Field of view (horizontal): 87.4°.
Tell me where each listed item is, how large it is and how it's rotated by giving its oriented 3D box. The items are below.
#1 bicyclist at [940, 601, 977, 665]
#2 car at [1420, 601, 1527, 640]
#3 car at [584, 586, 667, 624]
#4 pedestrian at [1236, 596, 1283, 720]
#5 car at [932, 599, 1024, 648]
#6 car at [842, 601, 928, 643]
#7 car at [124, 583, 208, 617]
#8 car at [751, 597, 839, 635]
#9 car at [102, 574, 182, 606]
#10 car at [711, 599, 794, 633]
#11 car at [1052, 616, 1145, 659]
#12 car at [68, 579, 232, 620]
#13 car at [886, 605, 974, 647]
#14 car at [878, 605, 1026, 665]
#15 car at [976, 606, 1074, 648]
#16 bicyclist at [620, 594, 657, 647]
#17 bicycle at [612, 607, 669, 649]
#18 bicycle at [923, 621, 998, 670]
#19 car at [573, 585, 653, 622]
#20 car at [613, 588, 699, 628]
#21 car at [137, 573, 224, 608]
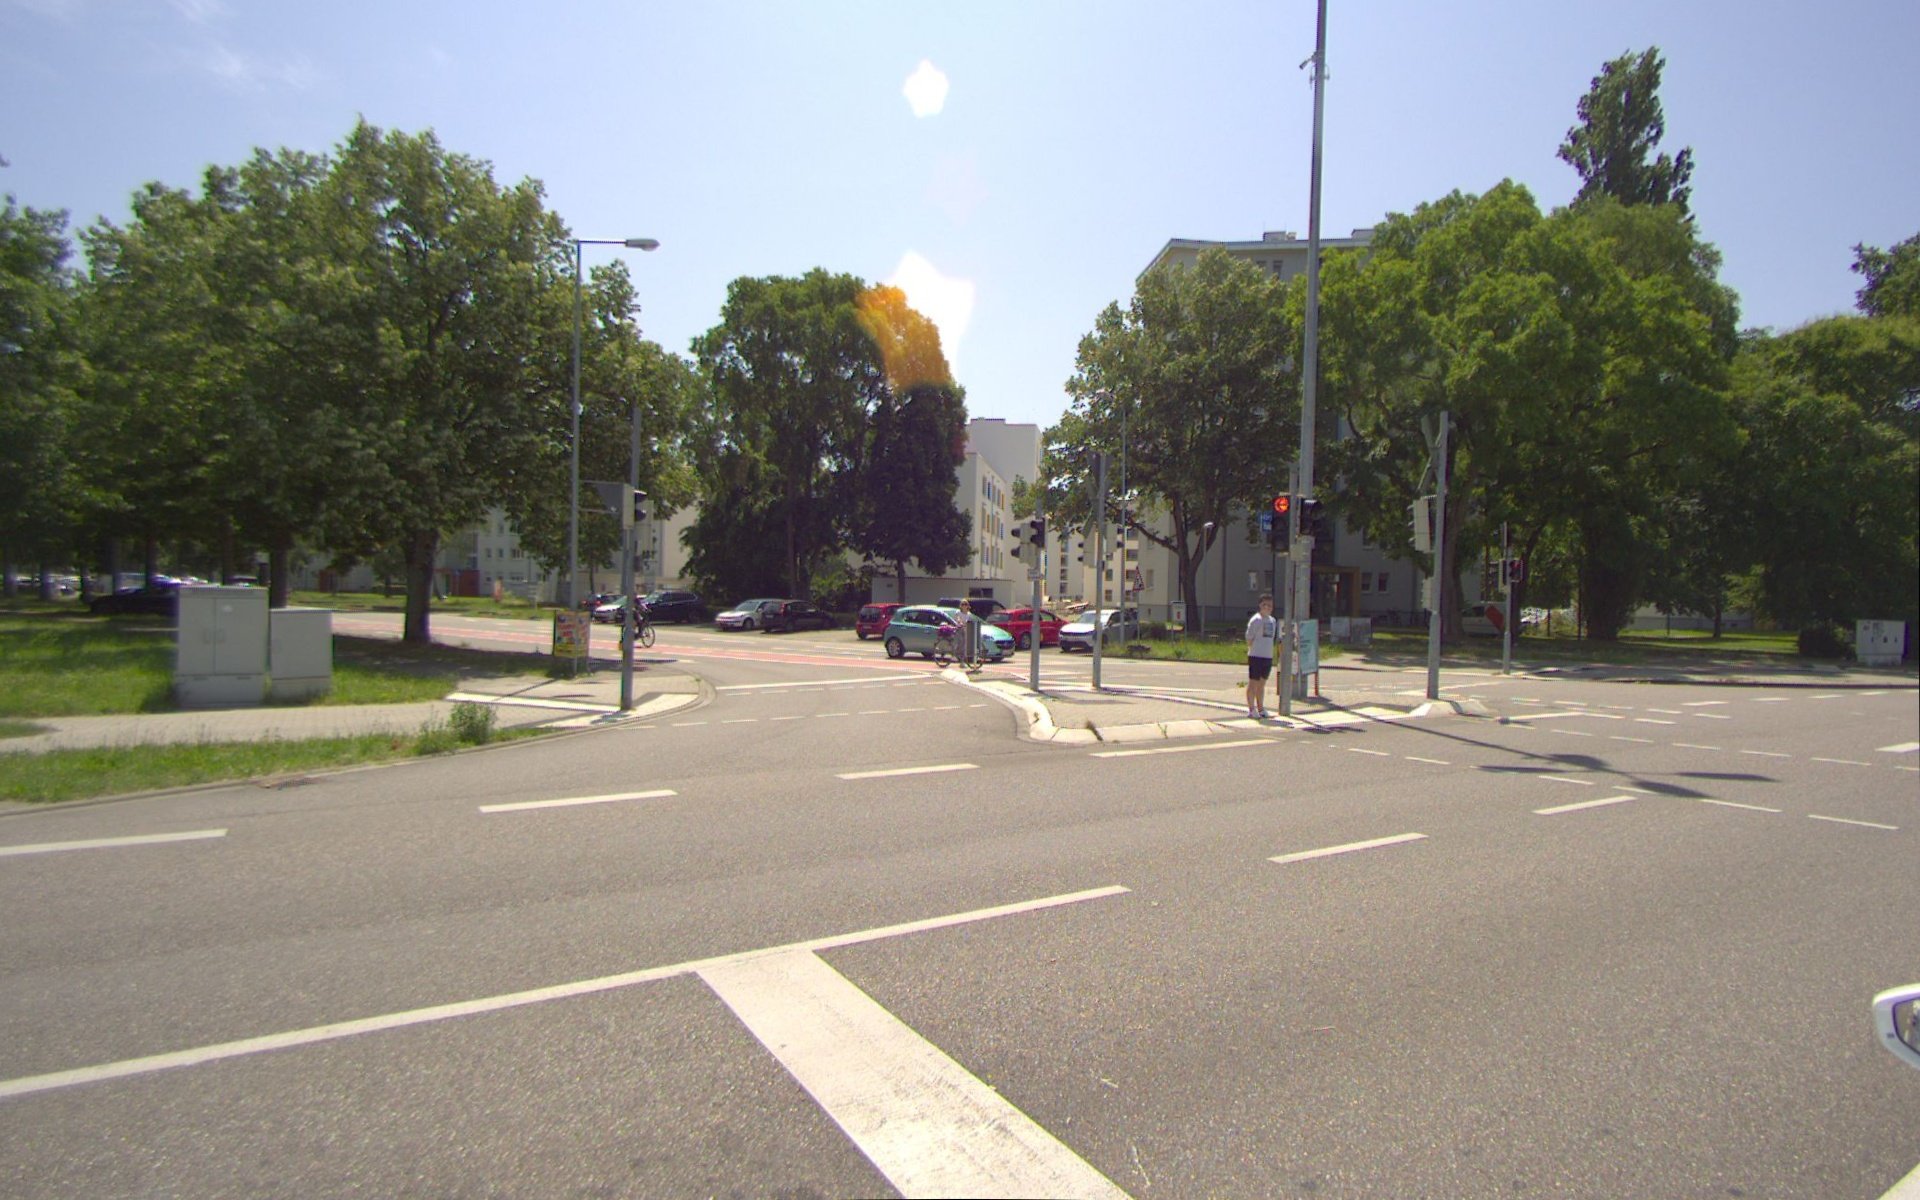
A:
[{"bbox_3d":[-0.037,0.801,24.790,0.655,1.557,0.629,2,1,37],"label":"bicyclist"},{"bbox_3d":[25.951,1.004,50.896,4.456,1.791,1.793,1,0,10],"label":"car"},{"bbox_3d":[-18.308,0.275,55.072,1.822,1.974,3.984,3,1,37],"label":"car"},{"bbox_3d":[4.227,0.810,14.164,0.481,1.710,0.380,1,1,-34],"label":"pedestrian"},{"bbox_3d":[0.769,0.914,40.567,1.682,1.825,3.984,3,1,37],"label":"car"},{"bbox_3d":[-3.193,0.957,43.598,1.819,1.690,3.993,1,0,29],"label":"car"},{"bbox_3d":[-51.824,-0.004,65.575,1.969,2.041,3.982,6,3,39],"label":"car"},{"bbox_3d":[-7.820,0.748,47.851,1.823,1.734,3.985,2,0,37],"label":"car"},{"bbox_3d":[-56.335,-0.674,69.204,1.969,2.041,3.982,6,3,39],"label":"car"},{"bbox_3d":[-10.072,0.760,49.008,1.667,1.583,3.823,1,0,37],"label":"car"},{"bbox_3d":[5.171,1.347,37.104,1.604,1.399,3.983,3,1,38],"label":"car"},{"bbox_3d":[-31.172,-0.020,38.815,4.505,1.487,1.995,0,0,-13],"label":"car"},{"bbox_3d":[-1.220,1.038,42.002,1.680,1.613,3.989,3,1,33],"label":"car"},{"bbox_3d":[-0.260,0.927,28.073,3.834,1.488,1.769,2,1,36],"label":"car"},{"bbox_3d":[2.542,1.021,38.671,1.600,1.483,3.976,3,1,43],"label":"car"},{"bbox_3d":[-10.563,0.660,32.984,0.884,1.715,0.770,2,0,38],"label":"bicyclist"},{"bbox_3d":[-10.471,0.899,32.895,2.028,1.317,0.770,1,0,38],"label":"bicycle"},{"bbox_3d":[-0.002,1.096,24.764,1.840,1.108,0.644,1,0,38],"label":"bicycle"},{"bbox_3d":[-19.763,0.211,57.368,1.822,1.974,3.984,3,1,37],"label":"car"},{"bbox_3d":[-15.987,0.410,52.963,1.822,1.974,3.984,3,1,37],"label":"car"},{"bbox_3d":[-48.587,-0.573,62.659,1.970,2.041,3.981,6,3,40],"label":"car"}]
